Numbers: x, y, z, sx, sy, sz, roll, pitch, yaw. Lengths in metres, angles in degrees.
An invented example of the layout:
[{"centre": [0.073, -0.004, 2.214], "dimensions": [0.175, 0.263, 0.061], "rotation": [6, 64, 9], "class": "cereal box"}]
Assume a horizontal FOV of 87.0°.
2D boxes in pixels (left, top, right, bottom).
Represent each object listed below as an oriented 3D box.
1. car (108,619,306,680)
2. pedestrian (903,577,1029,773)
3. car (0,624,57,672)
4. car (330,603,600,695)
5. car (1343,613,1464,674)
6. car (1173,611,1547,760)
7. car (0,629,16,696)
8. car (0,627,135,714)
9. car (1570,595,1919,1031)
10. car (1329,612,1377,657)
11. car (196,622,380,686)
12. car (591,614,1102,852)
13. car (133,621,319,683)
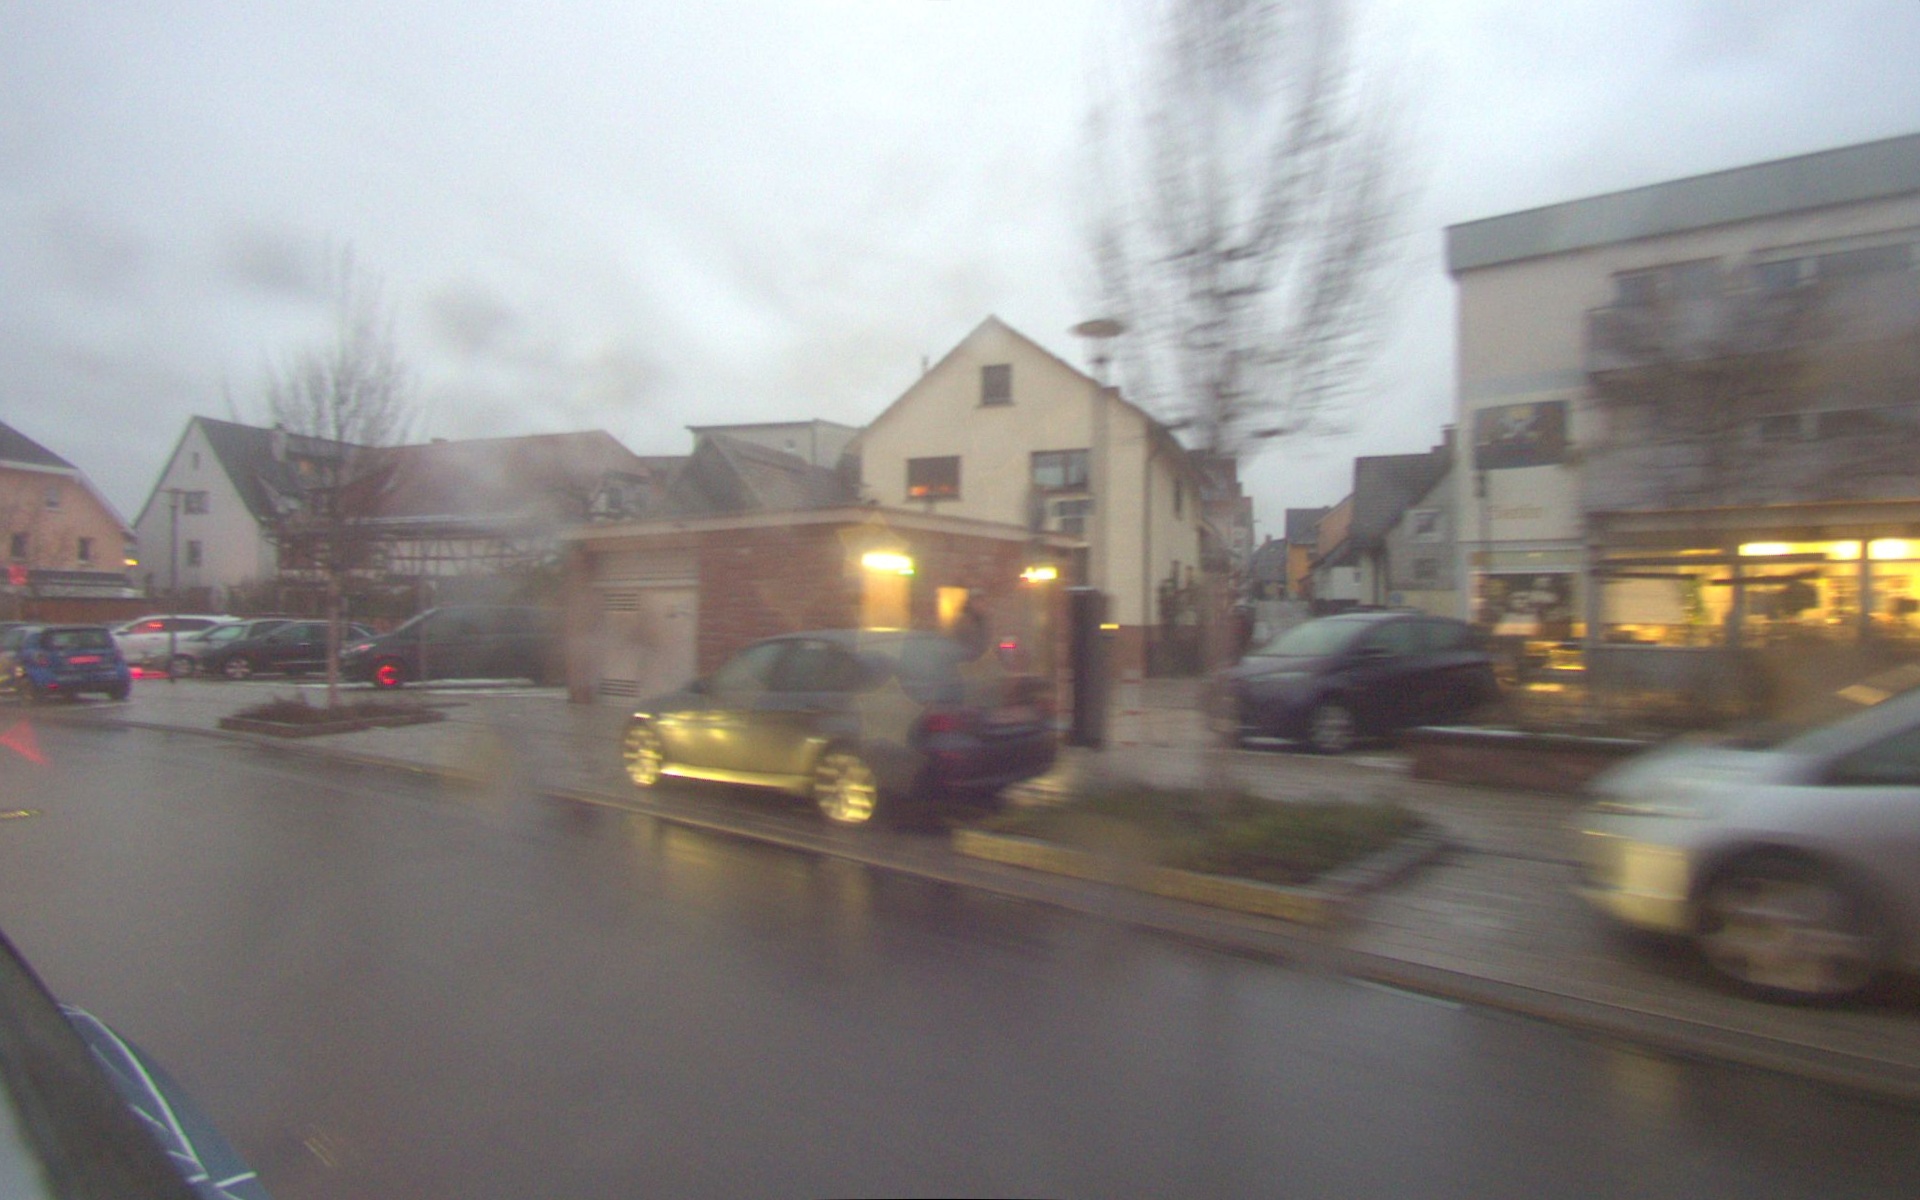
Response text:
[{"centre": [-22.323, 1.427, 30.121], "dimensions": [4.582, 1.666, 1.991], "rotation": [1, -2, -39], "class": "car"}, {"centre": [0.054, 0.735, 10.386], "dimensions": [1.061, 1.881, 0.745], "rotation": [-2, -2, 43], "class": "pedestrian"}, {"centre": [-30.590, 1.486, 31.230], "dimensions": [4.013, 1.470, 1.759], "rotation": [1, -2, -44], "class": "car"}, {"centre": [-11.232, 1.111, 23.112], "dimensions": [5.306, 1.900, 2.079], "rotation": [2, -3, -32], "class": "car"}, {"centre": [11.632, 1.081, 26.429], "dimensions": [1.875, 1.478, 3.947], "rotation": [-2, -1, 39], "class": "car"}, {"centre": [4.678, 0.937, 11.827], "dimensions": [4.018, 1.488, 1.745], "rotation": [1, -3, -25], "class": "car"}, {"centre": [-24.259, 1.472, 23.229], "dimensions": [4.217, 1.545, 1.901], "rotation": [-1, -1, 16], "class": "car"}, {"centre": [-18.435, 1.341, 20.224], "dimensions": [3.660, 1.547, 1.821], "rotation": [-1, -1, 29], "class": "car"}, {"centre": [4.550, 0.735, 3.682], "dimensions": [3.770, 1.528, 1.675], "rotation": [-1, 0, 40], "class": "car"}, {"centre": [16.835, 1.449, 43.294], "dimensions": [1.744, 1.813, 3.968], "rotation": [-1, -2, 23], "class": "car"}, {"centre": [-17.736, 1.378, 26.848], "dimensions": [3.933, 1.541, 2.005], "rotation": [0, -1, -35], "class": "car"}, {"centre": [-1.164, 0.893, 8.552], "dimensions": [4.456, 1.483, 1.729], "rotation": [-1, -1, 41], "class": "car"}, {"centre": [-20.313, 1.429, 28.110], "dimensions": [4.048, 1.594, 1.724], "rotation": [2, -3, -39], "class": "car"}]
